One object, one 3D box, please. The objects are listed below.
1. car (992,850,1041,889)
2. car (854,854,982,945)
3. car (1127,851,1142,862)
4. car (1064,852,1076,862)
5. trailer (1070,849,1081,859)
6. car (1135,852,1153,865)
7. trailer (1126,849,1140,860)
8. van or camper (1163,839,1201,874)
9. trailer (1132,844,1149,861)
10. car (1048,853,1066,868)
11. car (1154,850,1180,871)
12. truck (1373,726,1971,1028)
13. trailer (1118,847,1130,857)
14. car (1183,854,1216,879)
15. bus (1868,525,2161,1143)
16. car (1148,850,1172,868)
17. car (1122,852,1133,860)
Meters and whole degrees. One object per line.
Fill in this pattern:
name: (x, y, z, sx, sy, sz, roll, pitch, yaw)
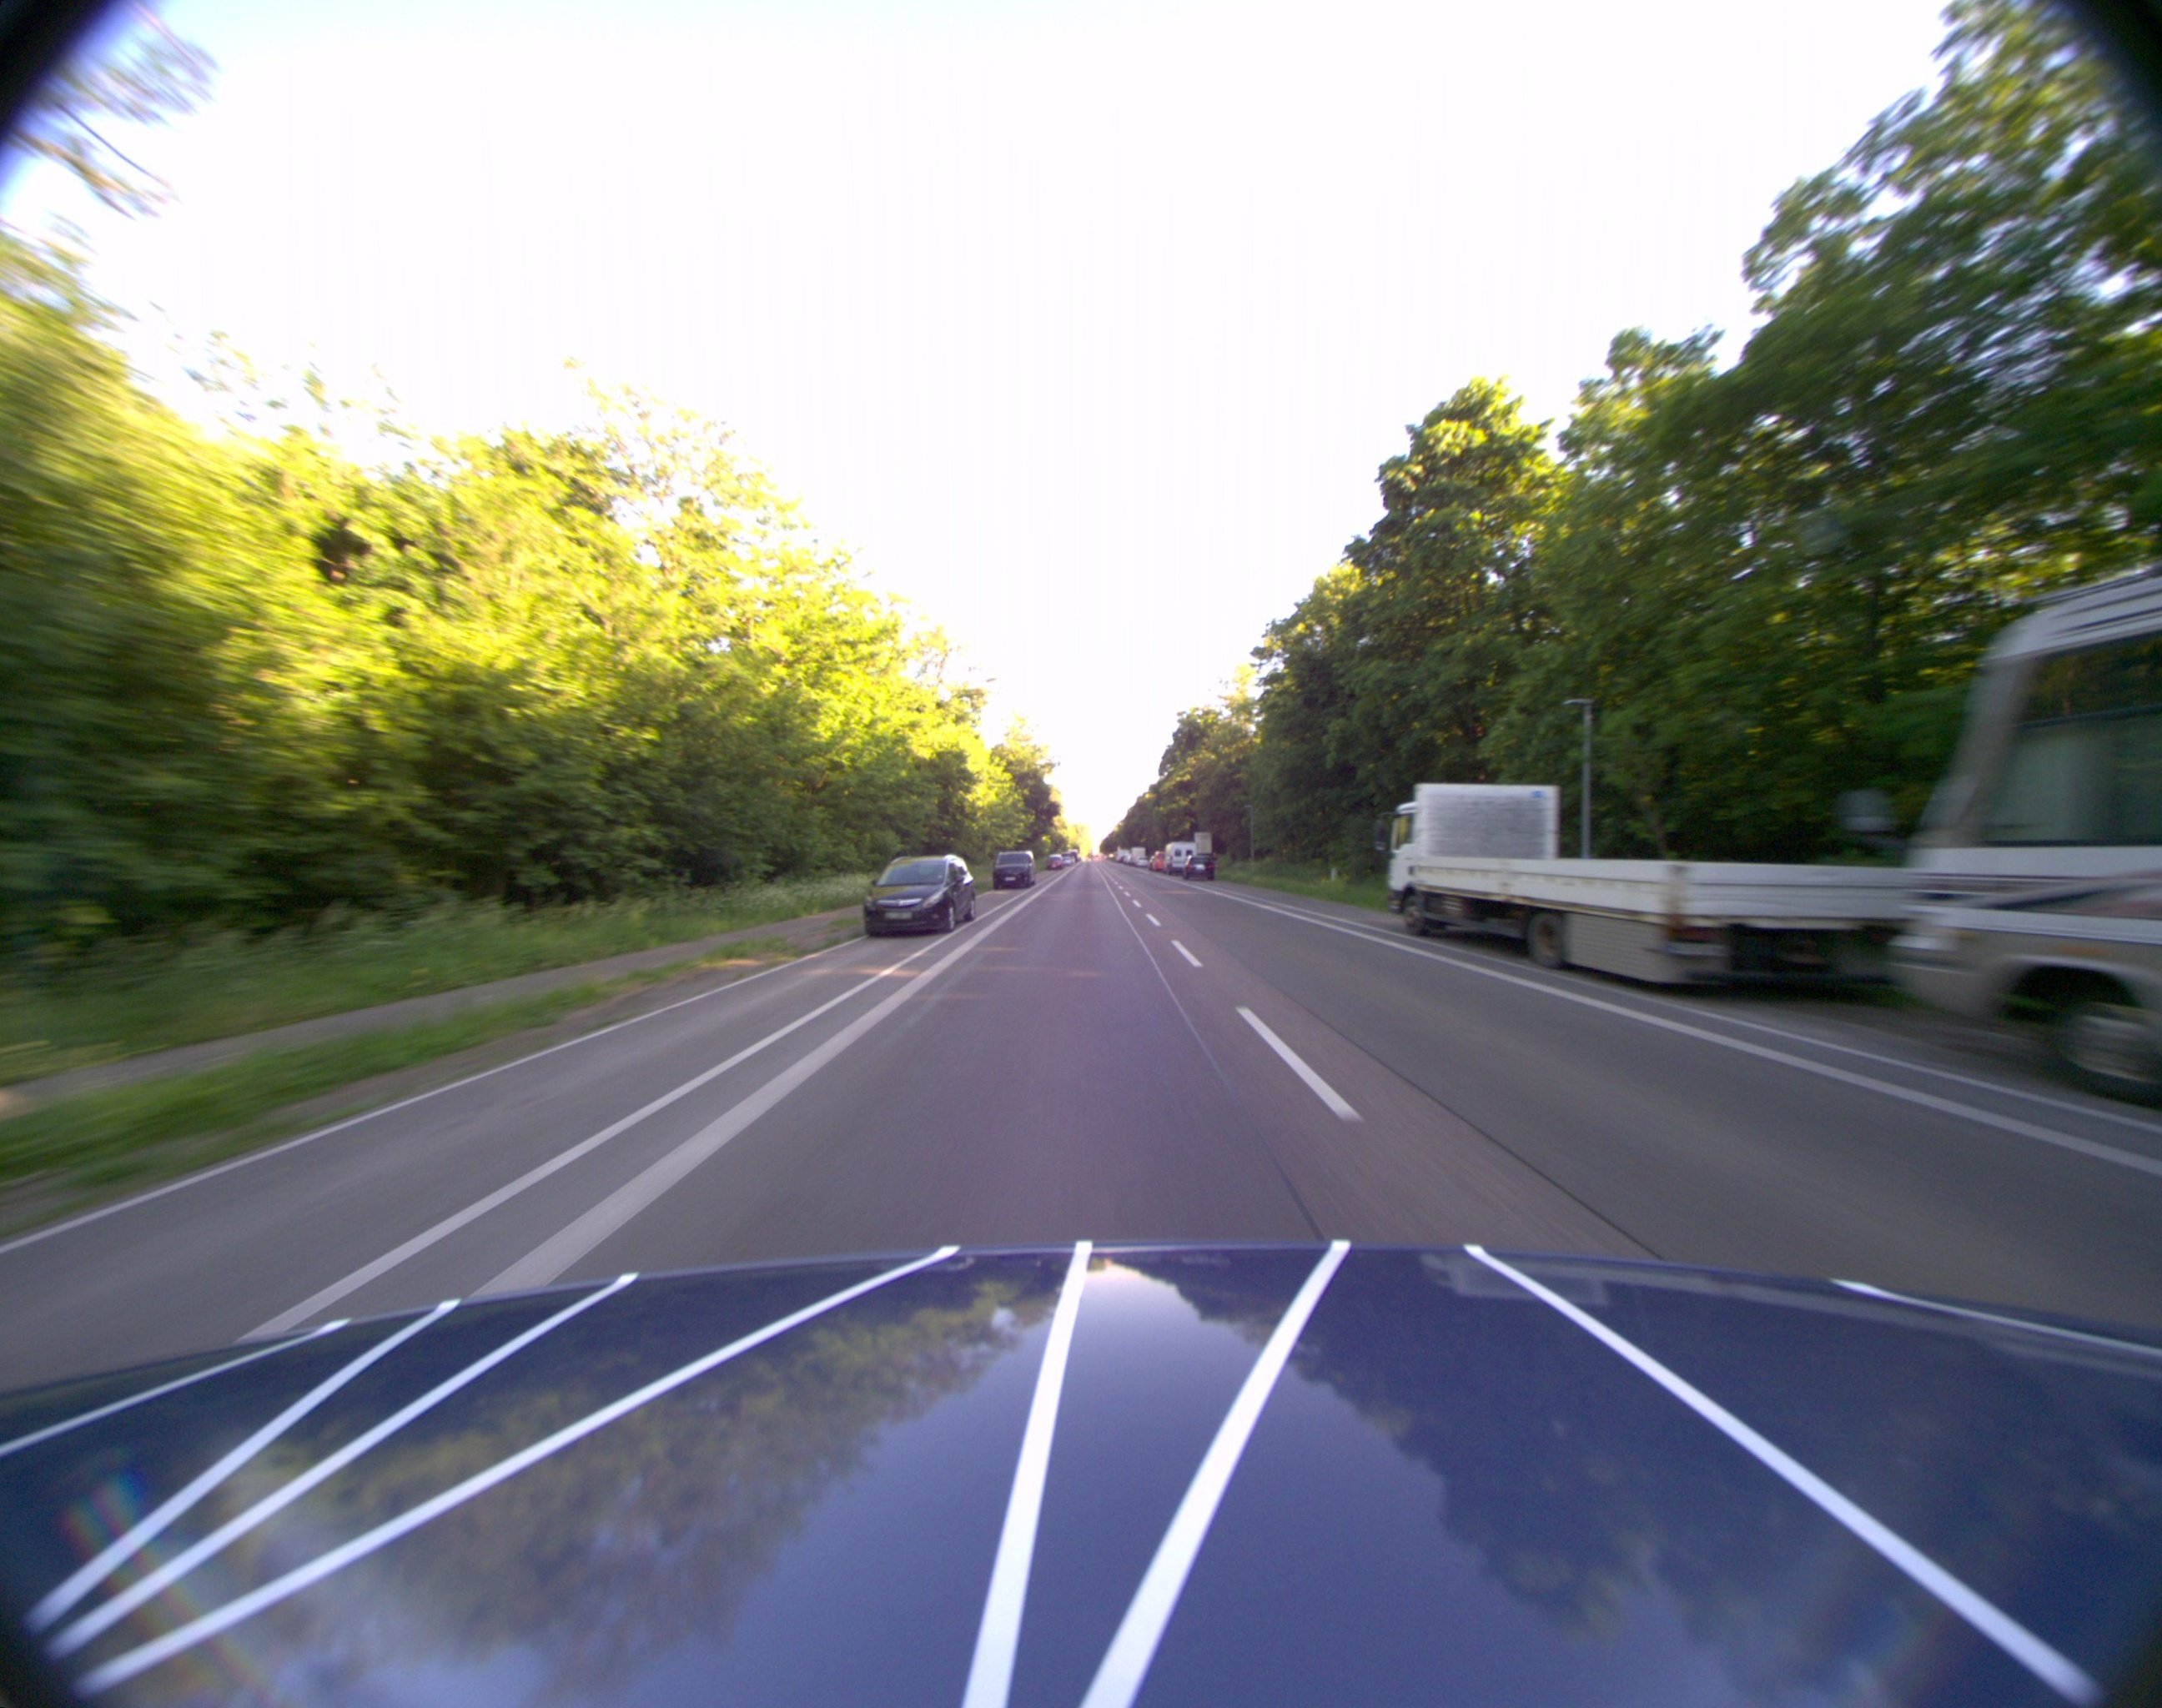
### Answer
car: (-3.346, 0.757, 40.407, 1.998, 1.888, 5.473, -2, 0, 1)
car: (-3.514, 0.897, 17.282, 1.804, 1.681, 4.601, -2, 1, 1)
car: (8.402, 0.332, 119.707, 1.998, 1.620, 4.144, -2, 0, 1)
car: (-1.904, 0.491, 133.775, 1.837, 1.608, 4.000, -2, 0, 1)
trailer: (-1.148, -0.001, 161.331, 1.998, 2.002, 3.999, -2, 1, 1)
car: (8.119, 0.598, 97.674, 1.998, 1.620, 4.144, -2, 0, 1)
trailer: (8.630, 0.036, 126.503, 1.998, 1.776, 3.999, -2, 1, 1)
van or camper: (7.897, 0.151, 59.877, 2.253, 2.599, 5.984, -1, 0, 1)
trailer: (8.141, -0.223, 104.514, 1.998, 2.227, 3.999, -2, 1, 1)
car: (-2.752, 0.756, 88.728, 1.837, 1.608, 4.000, -2, 0, 1)
car: (7.917, 0.558, 70.348, 1.998, 1.797, 4.144, -2, 0, 1)
truck: (7.232, 0.215, 11.421, 2.488, 2.807, 8.424, -2, 0, 1)
trailer: (9.053, -0.380, 160.050, 2.306, 1.972, 3.999, -2, 1, 1)
car: (7.406, 0.743, 47.667, 1.787, 1.485, 4.001, 0, 0, 5)
bus: (7.322, -0.092, 0.147, 2.835, 3.411, 11.199, -2, 1, 1)
car: (7.952, 0.482, 76.956, 1.998, 1.797, 4.144, -2, 0, 1)
car: (9.328, 0.364, 152.660, 1.998, 1.620, 4.144, -2, 0, 1)
